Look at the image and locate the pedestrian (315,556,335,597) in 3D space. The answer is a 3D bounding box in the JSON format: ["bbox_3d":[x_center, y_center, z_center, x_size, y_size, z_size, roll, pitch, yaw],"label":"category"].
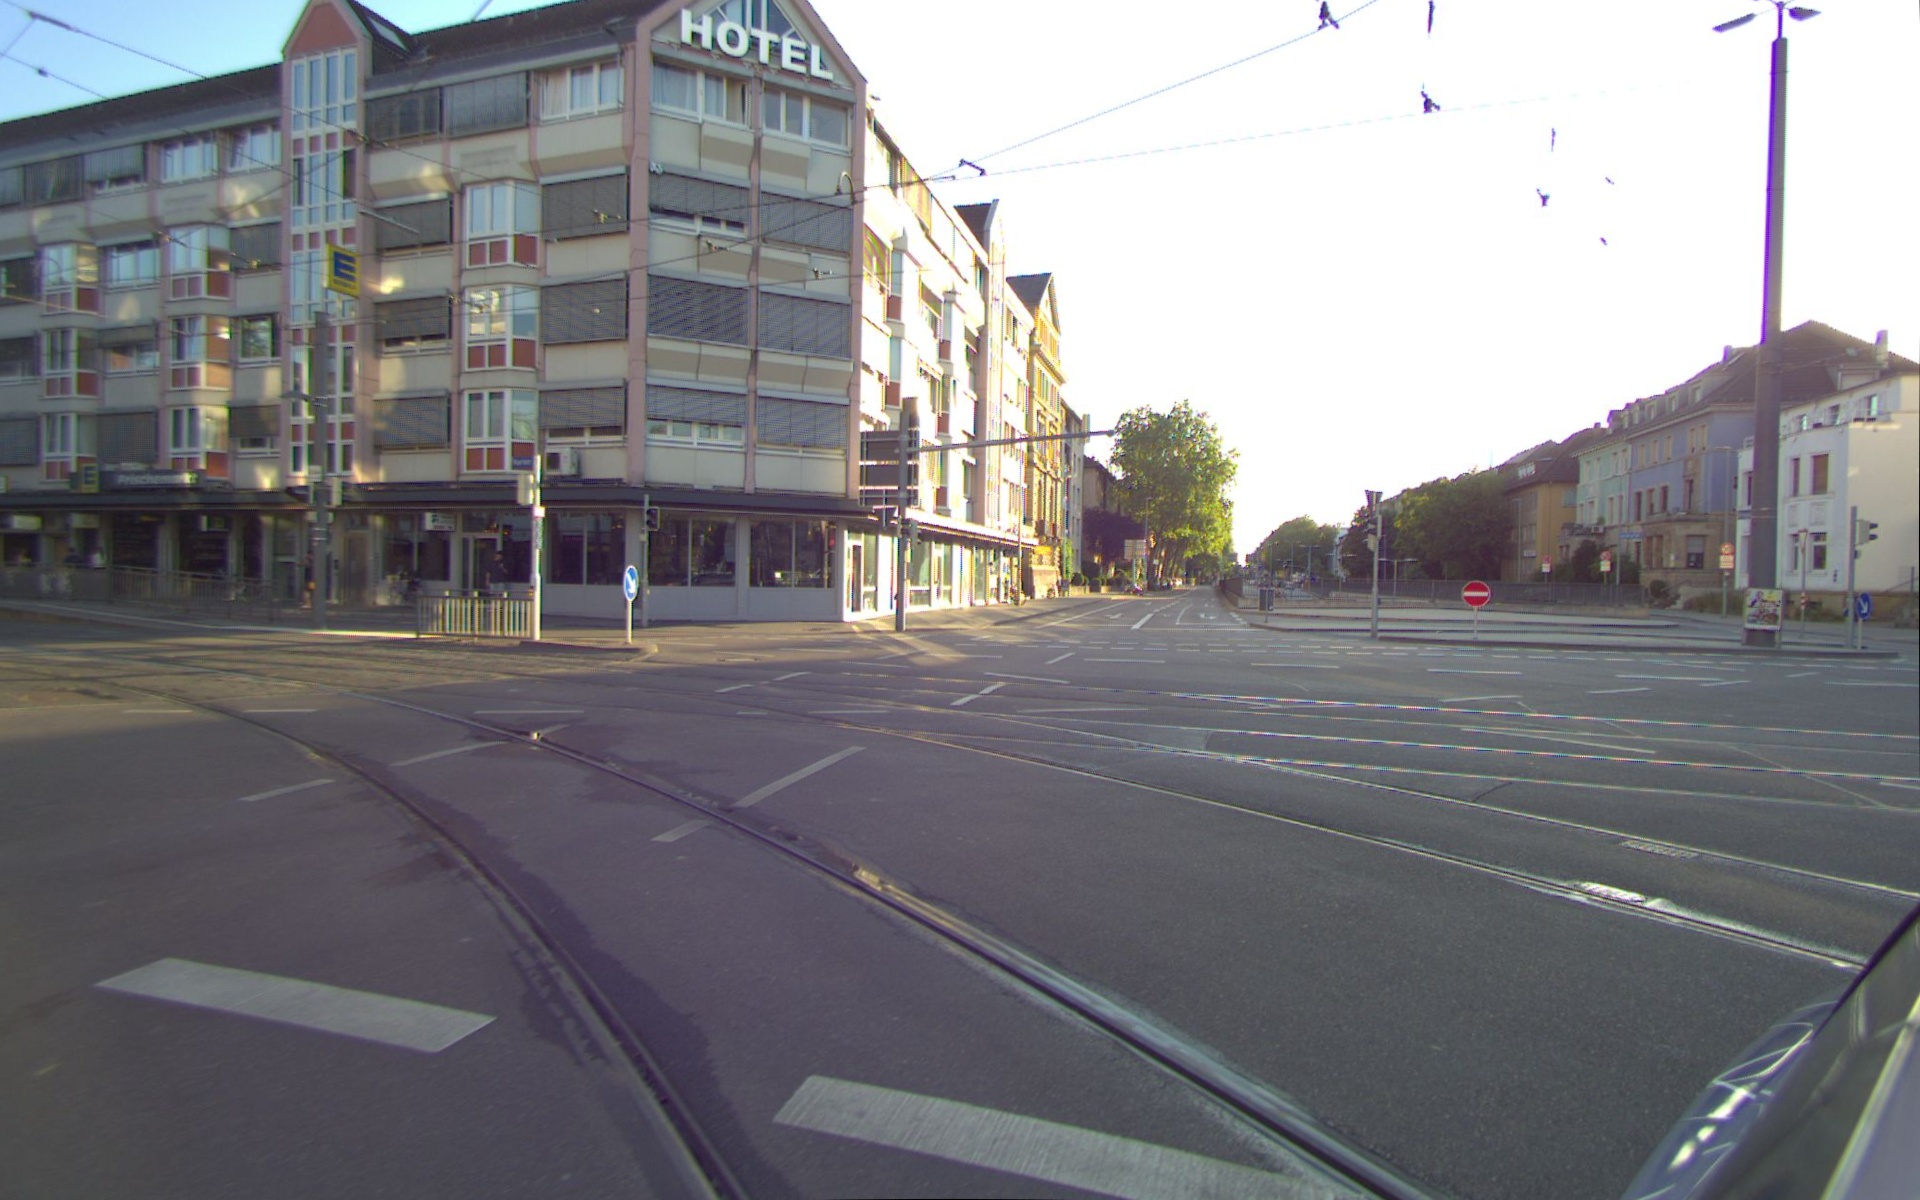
[{"bbox_3d":[-19.780,-0.744,31.526,0.469,1.262,0.472,0,2,-37],"label":"pedestrian"}]

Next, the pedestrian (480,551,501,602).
[{"bbox_3d":[-13.881,-0.694,29.905,0.469,1.511,0.472,0,2,-37],"label":"pedestrian"}]
